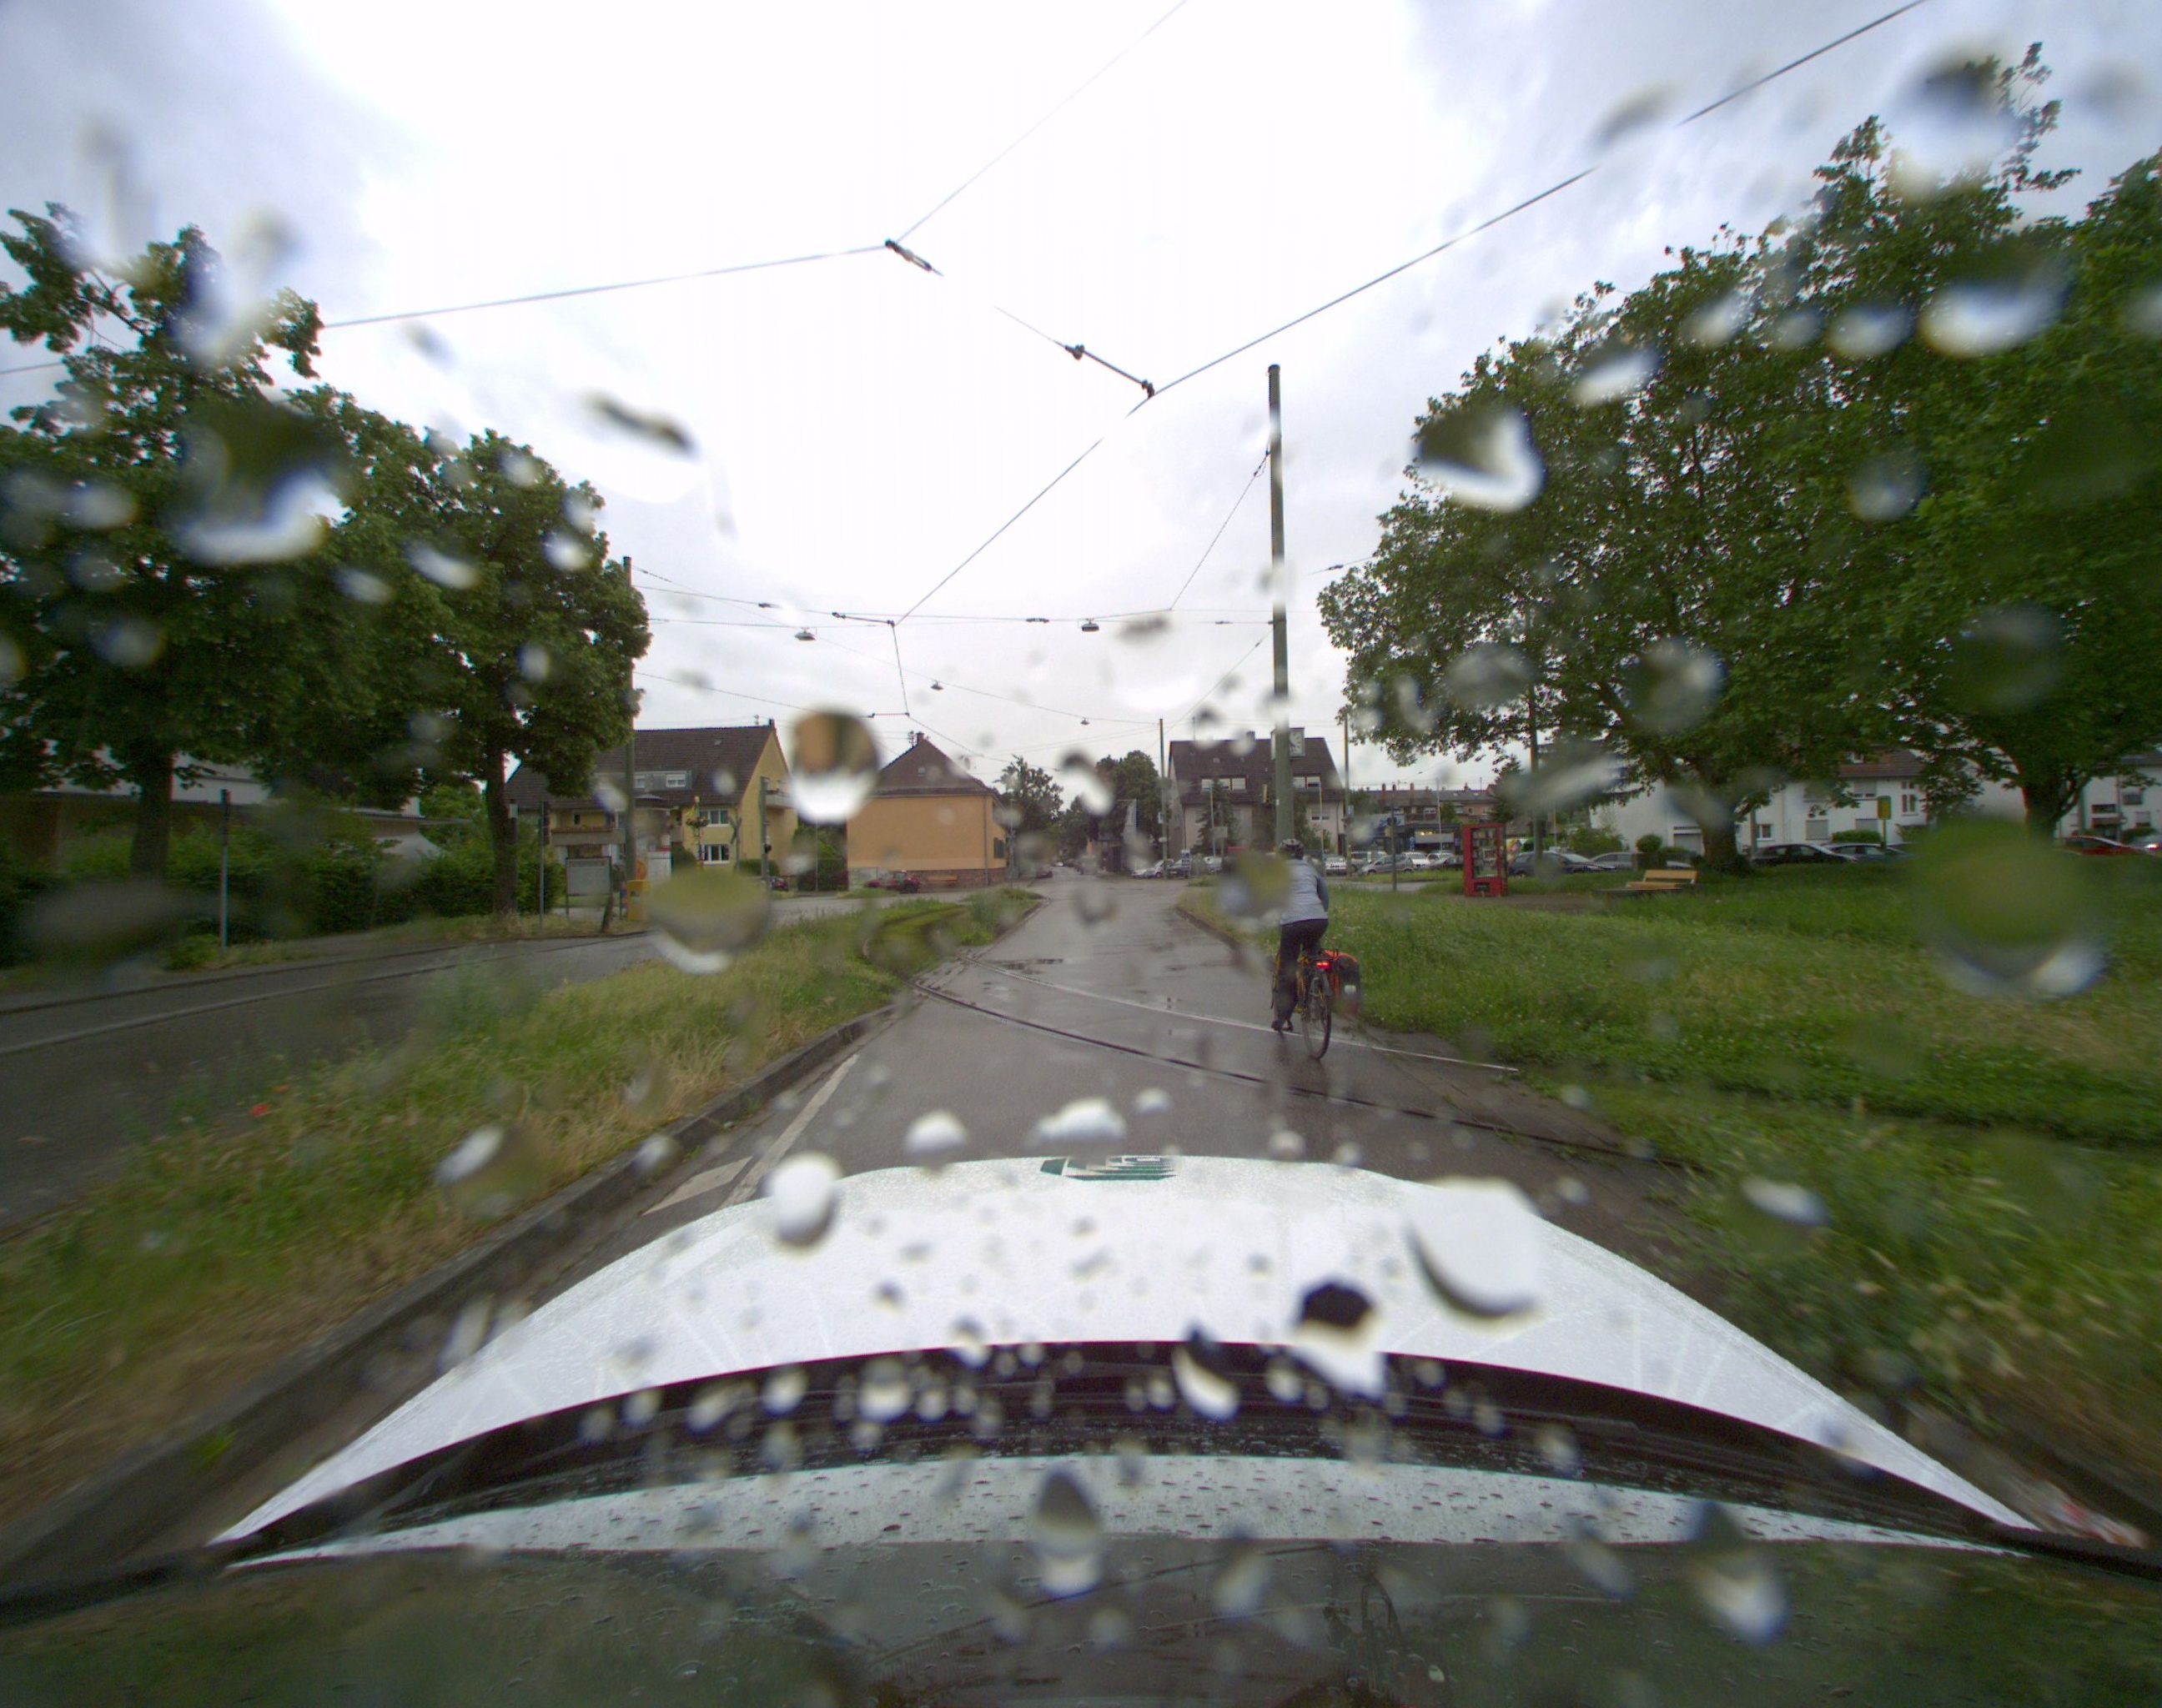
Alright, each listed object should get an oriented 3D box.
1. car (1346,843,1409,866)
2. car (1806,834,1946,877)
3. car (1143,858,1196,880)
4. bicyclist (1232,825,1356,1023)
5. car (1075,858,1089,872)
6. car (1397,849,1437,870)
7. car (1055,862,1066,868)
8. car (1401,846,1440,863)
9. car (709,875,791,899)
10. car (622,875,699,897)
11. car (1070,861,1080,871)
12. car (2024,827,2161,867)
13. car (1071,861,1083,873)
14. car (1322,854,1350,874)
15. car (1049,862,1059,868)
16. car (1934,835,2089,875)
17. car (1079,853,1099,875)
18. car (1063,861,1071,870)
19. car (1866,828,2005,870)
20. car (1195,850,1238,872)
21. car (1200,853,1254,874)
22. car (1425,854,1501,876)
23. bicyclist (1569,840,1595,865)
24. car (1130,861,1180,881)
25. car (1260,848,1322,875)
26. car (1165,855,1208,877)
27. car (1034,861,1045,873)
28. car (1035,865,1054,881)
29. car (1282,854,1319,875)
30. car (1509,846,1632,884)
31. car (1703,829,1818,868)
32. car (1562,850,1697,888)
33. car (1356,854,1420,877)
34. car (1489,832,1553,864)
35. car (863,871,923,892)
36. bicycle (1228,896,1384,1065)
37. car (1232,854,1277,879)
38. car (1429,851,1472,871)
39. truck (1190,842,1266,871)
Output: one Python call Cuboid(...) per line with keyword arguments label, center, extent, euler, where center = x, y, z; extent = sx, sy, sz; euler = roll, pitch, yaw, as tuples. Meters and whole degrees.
Cuboid(label="car", center=(23.872, 0.030, 65.607), extent=(4.416, 1.687, 1.761), euler=(-2, -2, 1))
Cuboid(label="car", center=(33.793, 0.123, 34.708), extent=(1.832, 1.501, 3.954), euler=(1, -5, -37))
Cuboid(label="car", center=(7.240, 1.204, 66.513), extent=(3.872, 1.579, 1.795), euler=(-2, -1, -20))
Cuboid(label="bicyclist", center=(1.716, 0.540, 6.684), extent=(0.748, 1.485, 0.847), euler=(-3, -1, 2))
Cuboid(label="car", center=(0.100, 1.609, 116.999), extent=(1.987, 2.014, 3.999), euler=(0, -1, 0))
Cuboid(label="car", center=(25.219, 0.425, 61.313), extent=(1.710, 1.573, 3.620), euler=(0, -1, 3))
Cuboid(label="car", center=(-5.575, 3.007, 219.238), extent=(1.832, 1.697, 4.008), euler=(1, -1, -17))
Cuboid(label="car", center=(30.710, 0.062, 73.787), extent=(1.777, 1.498, 3.995), euler=(0, -1, -3))
Cuboid(label="car", center=(-21.287, 2.098, 52.523), extent=(4.479, 1.396, 1.965), euler=(-1, -1, -3))
Cuboid(label="car", center=(-26.966, 2.054, 52.342), extent=(3.978, 1.332, 1.758), euler=(0, -1, -4))
Cuboid(label="car", center=(-1.098, 2.301, 155.687), extent=(1.824, 2.014, 3.996), euler=(0, -1, -3))
Cuboid(label="car", center=(43.298, -0.255, 34.797), extent=(1.641, 1.480, 3.567), euler=(-1, -3, -26))
Cuboid(label="car", center=(-0.683, 2.181, 137.008), extent=(1.824, 2.014, 3.996), euler=(0, -1, -3))
Cuboid(label="car", center=(19.110, 0.755, 61.165), extent=(1.814, 1.504, 4.074), euler=(0, -1, 14))
Cuboid(label="car", center=(-7.360, 3.058, 224.643), extent=(1.832, 1.697, 4.008), euler=(1, -1, -17))
Cuboid(label="car", center=(39.770, 0.087, 34.919), extent=(1.873, 1.480, 4.080), euler=(-1, -3, -32))
Cuboid(label="car", center=(0.911, 1.181, 98.526), extent=(2.148, 2.573, 4.129), euler=(0, -1, -3))
Cuboid(label="car", center=(-3.506, 2.809, 200.982), extent=(1.824, 2.014, 3.996), euler=(0, -1, -3))
Cuboid(label="car", center=(36.605, -0.166, 34.968), extent=(1.971, 1.553, 3.953), euler=(1, -3, -39))
Cuboid(label="car", center=(10.268, 0.504, 61.599), extent=(1.784, 1.579, 3.896), euler=(-3, -1, 32))
Cuboid(label="car", center=(11.954, 0.773, 66.614), extent=(3.933, 1.598, 2.010), euler=(-2, -2, 19))
Cuboid(label="car", center=(25.688, 0.756, 54.863), extent=(4.365, 1.339, 1.720), euler=(2, -1, -4))
Cuboid(label="bicyclist", center=(32.749, -0.074, 53.192), extent=(1.036, 1.598, 0.949), euler=(-2, -1, -2))
Cuboid(label="car", center=(6.338, 1.469, 69.833), extent=(3.872, 1.579, 1.795), euler=(-2, -1, -20))
Cuboid(label="car", center=(16.930, 0.635, 65.791), extent=(4.416, 2.014, 2.001), euler=(-2, -2, 1))
Cuboid(label="car", center=(8.197, 0.901, 63.239), extent=(1.784, 1.579, 3.896), euler=(-3, -1, 32))
Cuboid(label="car", center=(-7.044, 2.237, 137.417), extent=(1.824, 2.014, 3.996), euler=(0, -1, -3))
Cuboid(label="car", center=(-3.828, 1.996, 85.626), extent=(1.989, 1.618, 3.996), euler=(-2, -1, -2))
Cuboid(label="car", center=(16.475, 0.808, 61.132), extent=(1.810, 1.504, 4.082), euler=(0, -1, 28))
Cuboid(label="car", center=(20.852, 0.479, 34.858), extent=(1.810, 1.476, 4.136), euler=(-2, -1, -30))
Cuboid(label="car", center=(29.658, -0.196, 35.638), extent=(1.762, 1.506, 3.478), euler=(1, -4, -36))
Cuboid(label="car", center=(23.605, 0.651, 35.235), extent=(1.808, 1.476, 4.510), euler=(-2, -1, -26))
Cuboid(label="car", center=(20.420, 0.746, 54.281), extent=(3.619, 1.504, 1.723), euler=(0, -1, 0))
Cuboid(label="car", center=(33.943, -0.421, 62.989), extent=(2.138, 2.406, 5.147), euler=(0, -1, 0))
Cuboid(label="car", center=(-12.382, 1.805, 53.780), extent=(3.597, 1.339, 1.721), euler=(0, -1, -3))
Cuboid(label="bicycle", center=(1.746, 0.936, 6.662), extent=(0.750, 1.073, 1.928), euler=(-3, -1, 2))
Cuboid(label="car", center=(13.072, 0.933, 61.173), extent=(1.974, 1.717, 4.025), euler=(-3, -1, 32))
Cuboid(label="car", center=(27.614, 0.518, 60.968), extent=(1.710, 1.396, 3.845), euler=(0, -1, 3))
Cuboid(label="truck", center=(12.618, 0.235, 69.853), extent=(6.032, 2.272, 2.010), euler=(-2, -2, 19))
